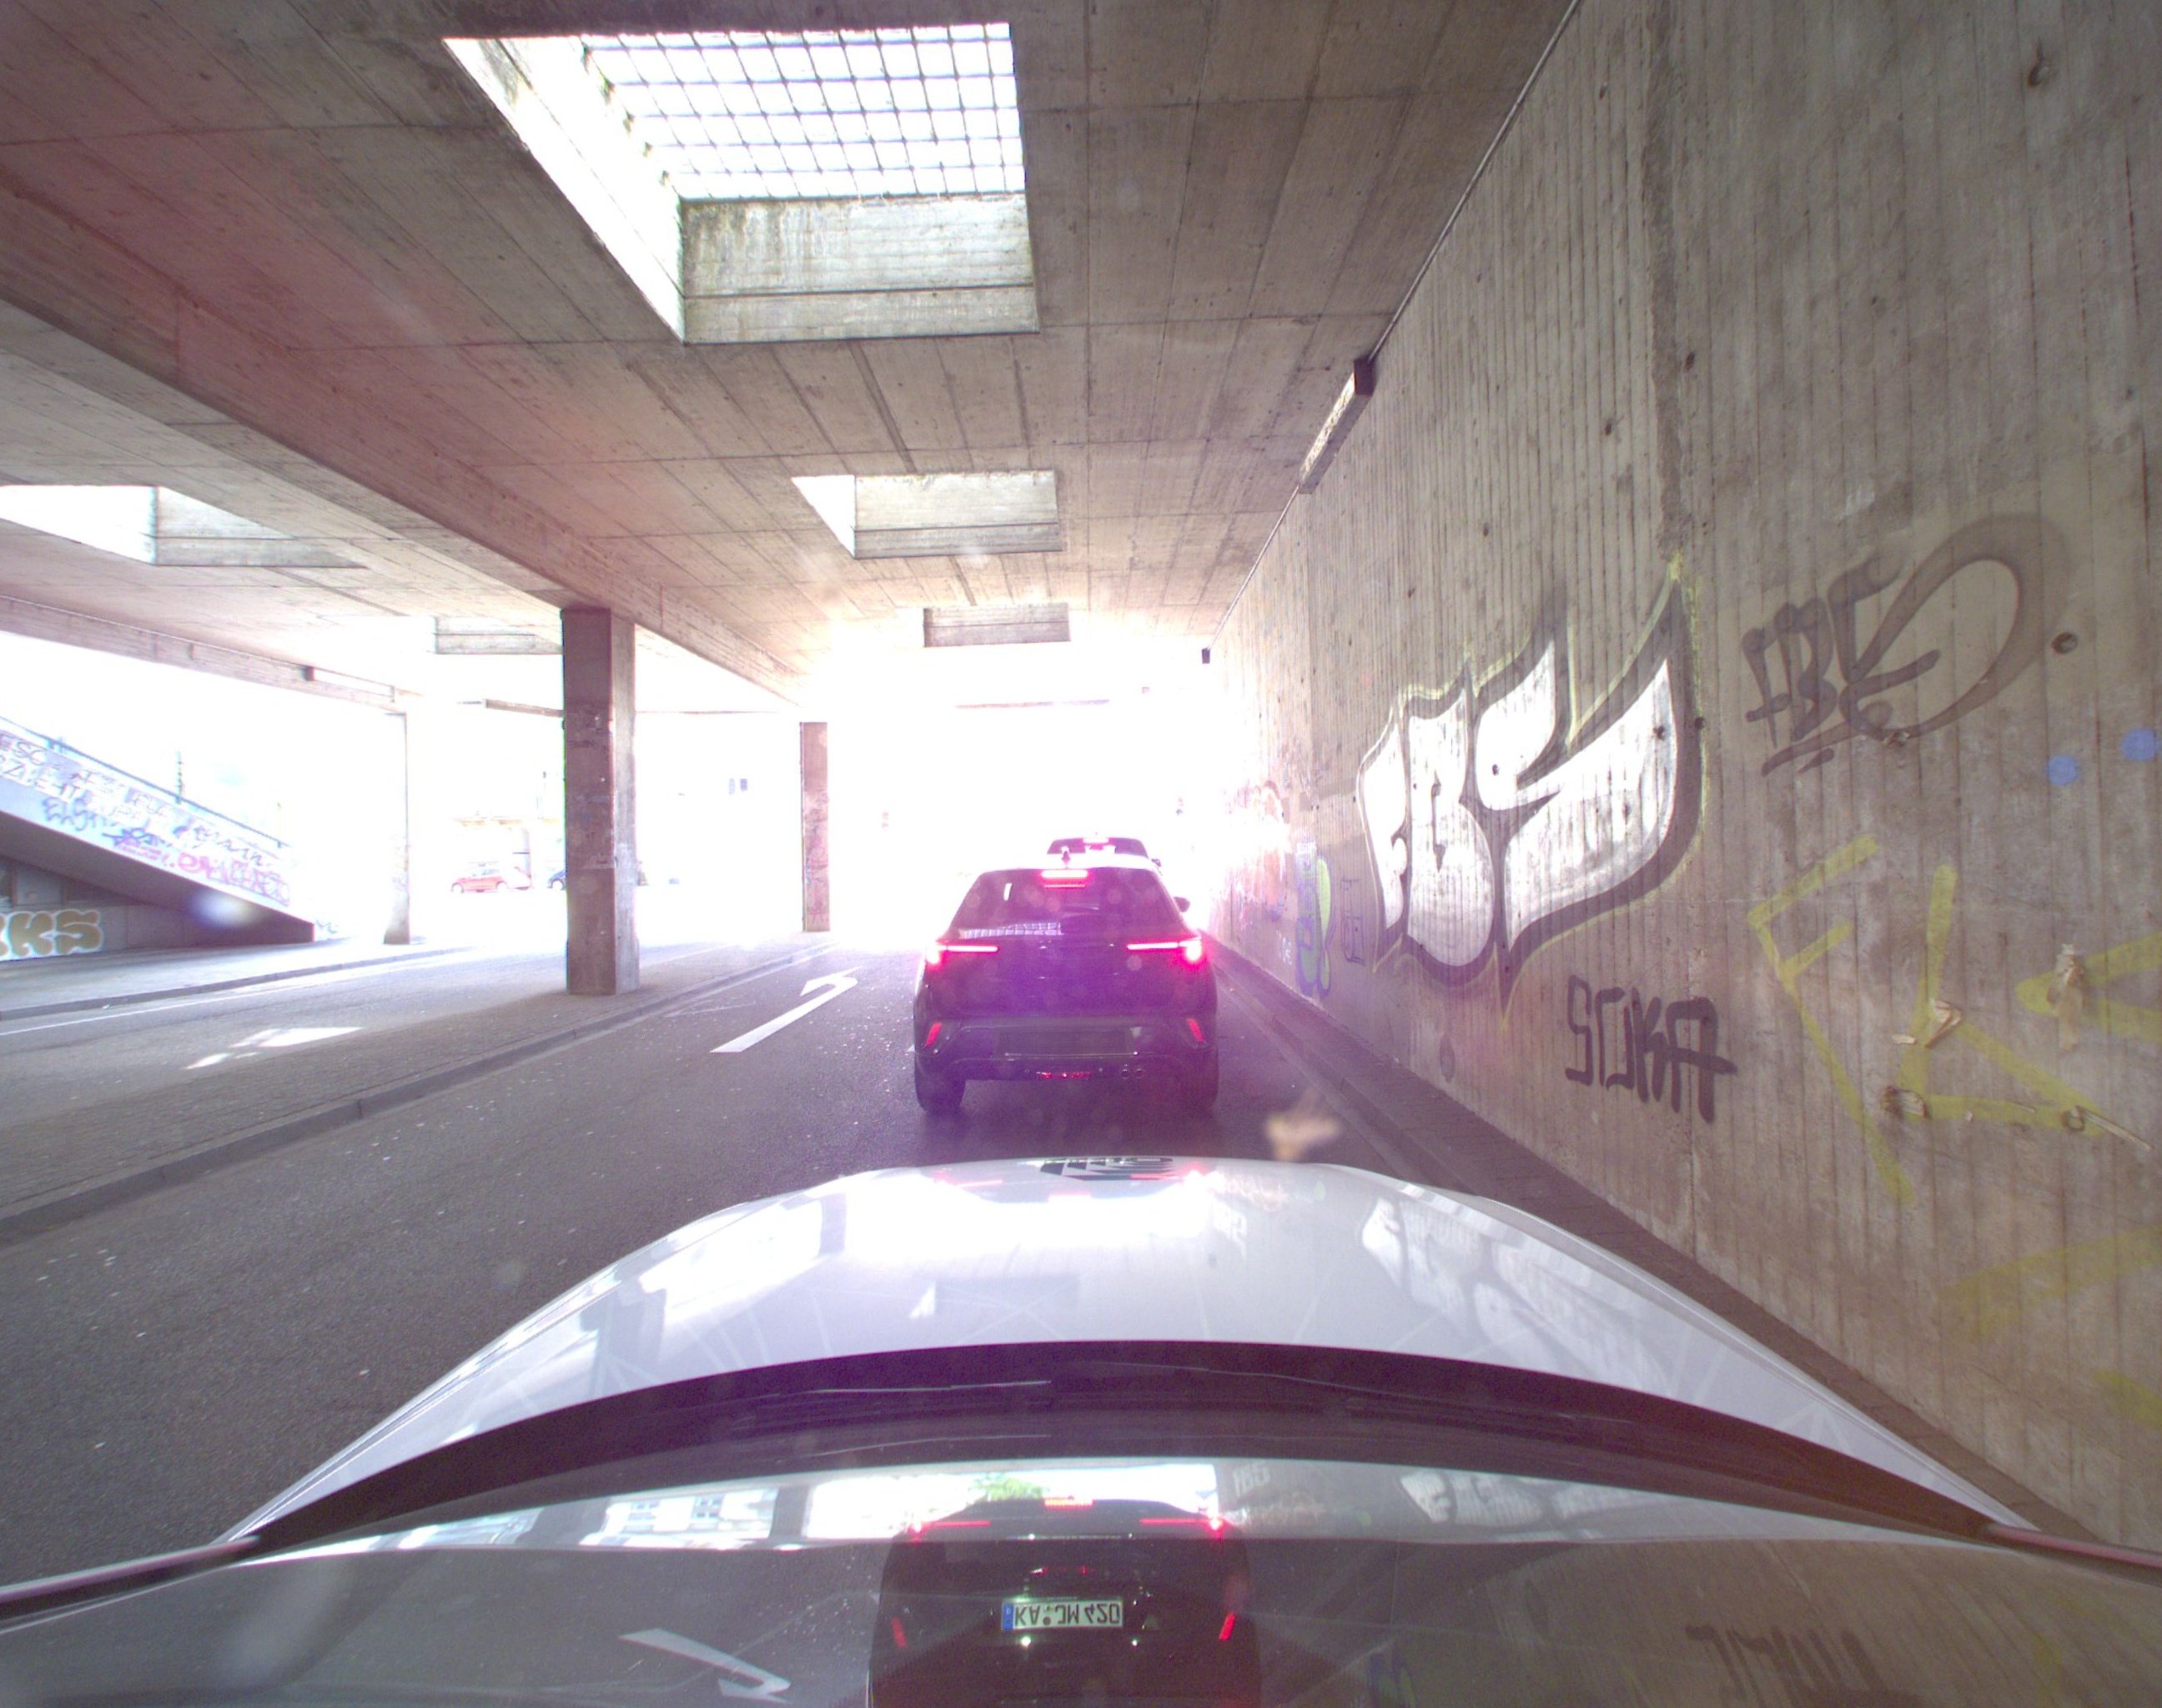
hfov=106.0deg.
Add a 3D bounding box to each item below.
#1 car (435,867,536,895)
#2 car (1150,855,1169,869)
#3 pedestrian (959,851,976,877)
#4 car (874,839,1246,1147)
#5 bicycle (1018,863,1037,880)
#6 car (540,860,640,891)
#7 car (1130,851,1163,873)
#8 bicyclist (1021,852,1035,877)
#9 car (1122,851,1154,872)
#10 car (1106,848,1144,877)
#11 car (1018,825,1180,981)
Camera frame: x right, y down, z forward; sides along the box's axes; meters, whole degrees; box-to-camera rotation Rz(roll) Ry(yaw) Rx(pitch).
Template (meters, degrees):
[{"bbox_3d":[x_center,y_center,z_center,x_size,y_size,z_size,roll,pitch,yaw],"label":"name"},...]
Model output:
[{"bbox_3d":[-33.009,1.481,45.231,3.970,1.374,2.192,-2,0,3],"label":"car"},{"bbox_3d":[9.550,0.922,99.153,1.981,1.662,4.012,-1,-1,11],"label":"car"},{"bbox_3d":[-9.117,0.808,65.488,0.986,2.013,1.091,-2,0,10],"label":"pedestrian"},{"bbox_3d":[-0.047,0.715,6.178,1.875,1.538,3.966,-2,0,2],"label":"car"},{"bbox_3d":[-3.385,1.103,51.734,0.727,1.067,1.694,-1,-1,11],"label":"bicycle"},{"bbox_3d":[-27.205,1.189,45.231,4.114,1.550,2.268,-2,0,1],"label":"car"},{"bbox_3d":[5.593,0.680,69.026,2.206,1.719,4.474,-2,-2,12],"label":"car"},{"bbox_3d":[-3.375,0.646,51.769,0.724,1.581,0.817,-1,-1,11],"label":"bicyclist"},{"bbox_3d":[4.410,0.636,62.241,1.955,1.497,3.908,-2,-2,11],"label":"car"},{"bbox_3d":[2.411,0.500,44.256,1.959,1.497,3.900,-2,-2,4],"label":"car"},{"bbox_3d":[0.286,0.597,11.998,1.938,1.860,3.966,-2,0,2],"label":"car"}]
